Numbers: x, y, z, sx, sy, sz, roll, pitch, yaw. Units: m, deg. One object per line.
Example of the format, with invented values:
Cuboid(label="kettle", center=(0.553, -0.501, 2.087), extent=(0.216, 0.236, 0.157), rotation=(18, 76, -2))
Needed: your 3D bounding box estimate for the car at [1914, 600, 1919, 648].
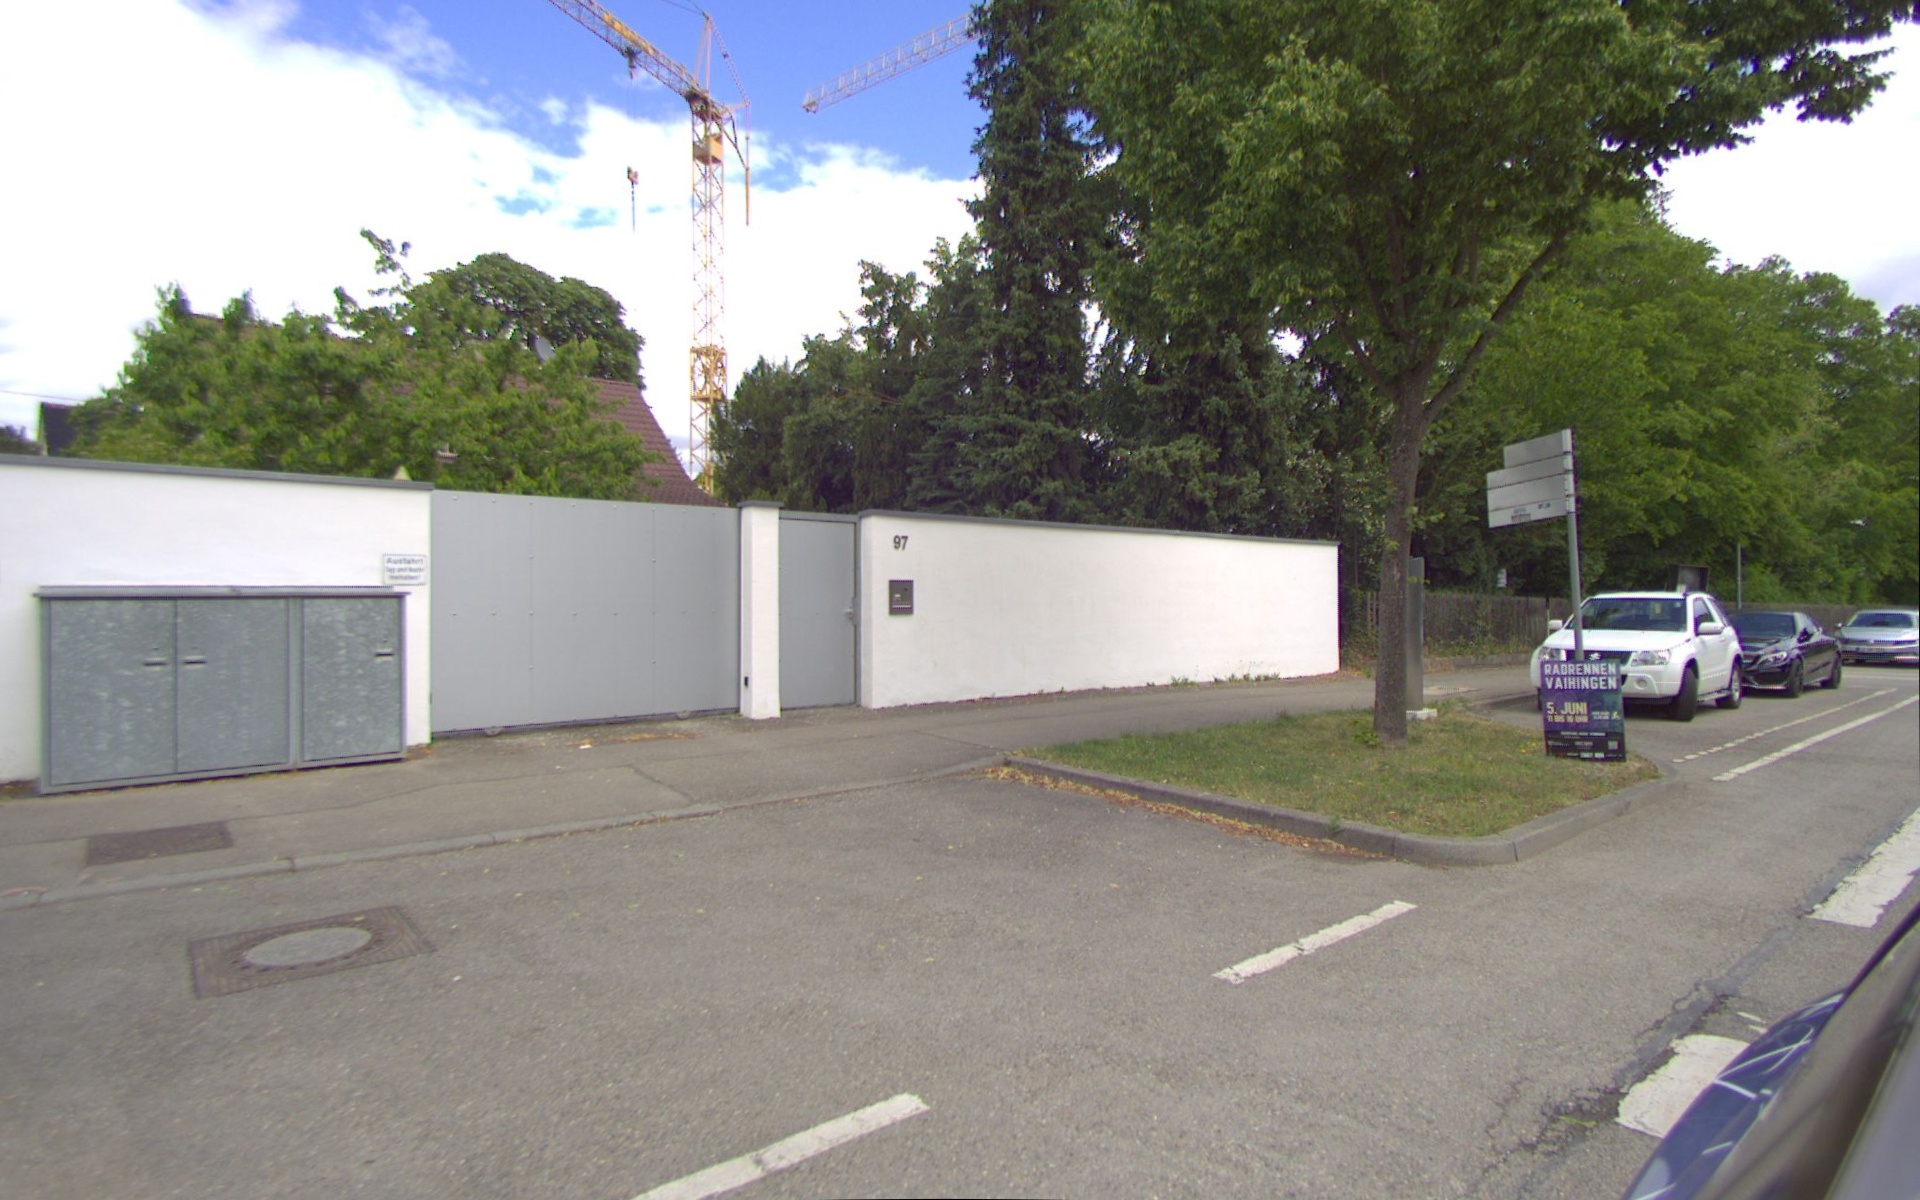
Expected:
Cuboid(label="car", center=(33.089, 0.766, 33.400), extent=(3.957, 1.529, 1.772), rotation=(-1, 0, -38))

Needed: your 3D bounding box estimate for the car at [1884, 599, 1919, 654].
Cuboid(label="car", center=(28.794, 0.758, 29.774), extent=(4.455, 1.530, 1.706), rotation=(1, -1, -39))

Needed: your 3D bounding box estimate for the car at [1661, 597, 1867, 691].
Cuboid(label="car", center=(14.208, 0.696, 17.802), extent=(4.518, 1.435, 1.868), rotation=(1, 0, -38))

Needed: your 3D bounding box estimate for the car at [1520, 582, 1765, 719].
Cuboid(label="car", center=(9.739, 0.586, 14.338), extent=(4.044, 1.663, 1.904), rotation=(0, 1, -41))

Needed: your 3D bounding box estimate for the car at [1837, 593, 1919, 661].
Cuboid(label="car", center=(24.576, 0.650, 26.373), extent=(4.603, 1.631, 1.865), rotation=(-1, -1, -40))
